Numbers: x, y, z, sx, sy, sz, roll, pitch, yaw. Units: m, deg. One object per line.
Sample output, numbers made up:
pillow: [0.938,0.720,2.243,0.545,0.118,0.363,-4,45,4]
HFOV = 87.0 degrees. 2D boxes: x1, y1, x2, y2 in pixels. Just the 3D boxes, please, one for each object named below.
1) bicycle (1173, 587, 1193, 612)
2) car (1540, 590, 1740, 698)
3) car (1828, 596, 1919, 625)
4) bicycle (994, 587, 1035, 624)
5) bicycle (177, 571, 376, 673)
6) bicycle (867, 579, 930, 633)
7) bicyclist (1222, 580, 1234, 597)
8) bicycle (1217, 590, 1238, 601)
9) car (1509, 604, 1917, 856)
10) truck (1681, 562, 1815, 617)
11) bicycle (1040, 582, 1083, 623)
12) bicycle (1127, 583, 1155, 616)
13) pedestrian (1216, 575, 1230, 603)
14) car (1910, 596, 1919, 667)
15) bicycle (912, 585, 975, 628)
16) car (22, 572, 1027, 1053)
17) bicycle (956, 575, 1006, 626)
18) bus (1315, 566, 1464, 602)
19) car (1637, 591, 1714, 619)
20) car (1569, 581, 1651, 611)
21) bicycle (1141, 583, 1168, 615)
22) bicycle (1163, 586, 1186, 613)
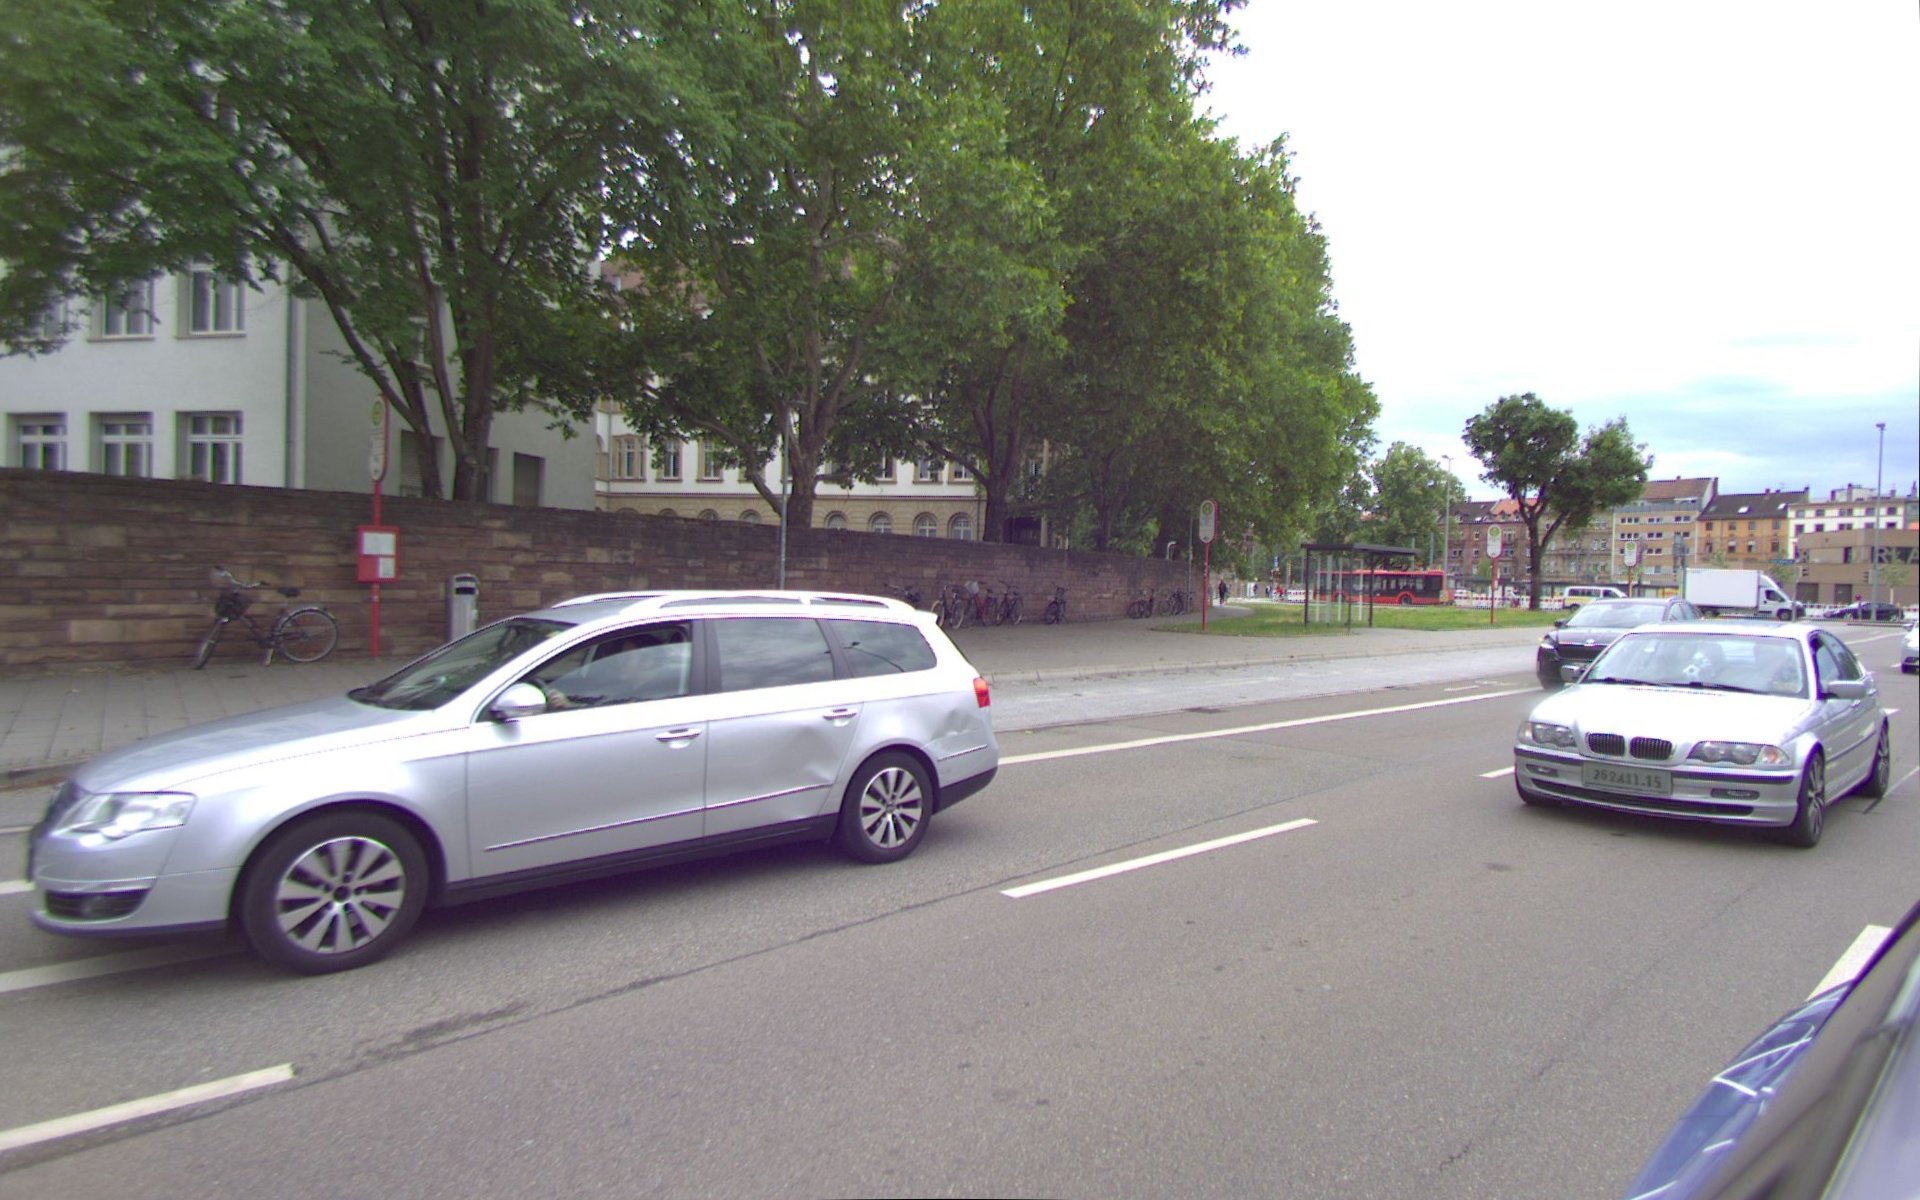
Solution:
bicycle: [9.460,-0.019,42.925,0.544,1.004,1.626,3,2,20]
car: [11.981,0.667,17.722,4.413,1.645,1.910,0,0,-42]
car: [61.618,0.681,68.245,4.224,1.657,1.682,3,2,15]
bicycle: [1.492,0.136,27.453,0.414,0.954,1.508,3,2,31]
bicycle: [-8.545,0.234,12.729,0.845,1.141,1.900,4,3,34]
bicycle: [-1.354,0.104,22.649,0.712,1.113,1.780,3,2,20]
bicyclist: [24.609,-1.023,92.894,0.737,1.526,0.757,4,2,39]
bicycle: [24.544,-0.388,92.931,1.687,0.926,0.757,4,2,39]
car: [6.026,0.777,7.902,4.171,1.432,1.725,1,0,-41]
truck: [52.403,-0.780,67.451,6.835,3.453,2.520,1,2,45]
bicycle: [2.943,0.061,29.332,0.593,1.118,1.638,3,2,29]
bicycle: [6.570,-0.028,36.733,0.589,1.150,1.700,3,2,23]
pedestrian: [17.221,-0.718,66.219,0.745,1.756,0.821,3,2,10]
car: [22.217,0.680,21.995,3.801,1.481,1.786,0,1,-39]
bicycle: [-0.373,0.151,24.341,0.650,0.963,1.750,4,2,31]
car: [-1.900,0.658,5.441,4.445,1.570,1.829,-1,1,-39]
bicycle: [0.551,0.009,25.894,0.497,1.236,1.609,3,2,31]
bus: [37.973,-1.478,90.020,2.889,2.944,12.068,1,1,-44]
car: [52.478,0.324,74.233,4.415,1.767,1.738,4,3,41]
car: [46.921,-0.319,73.122,1.889,1.942,4.704,-3,4,-43]
bicycle: [7.356,-0.046,38.266,0.589,1.143,1.700,3,2,23]
bicycle: [8.770,-0.034,41.356,0.589,1.072,1.700,3,2,23]
